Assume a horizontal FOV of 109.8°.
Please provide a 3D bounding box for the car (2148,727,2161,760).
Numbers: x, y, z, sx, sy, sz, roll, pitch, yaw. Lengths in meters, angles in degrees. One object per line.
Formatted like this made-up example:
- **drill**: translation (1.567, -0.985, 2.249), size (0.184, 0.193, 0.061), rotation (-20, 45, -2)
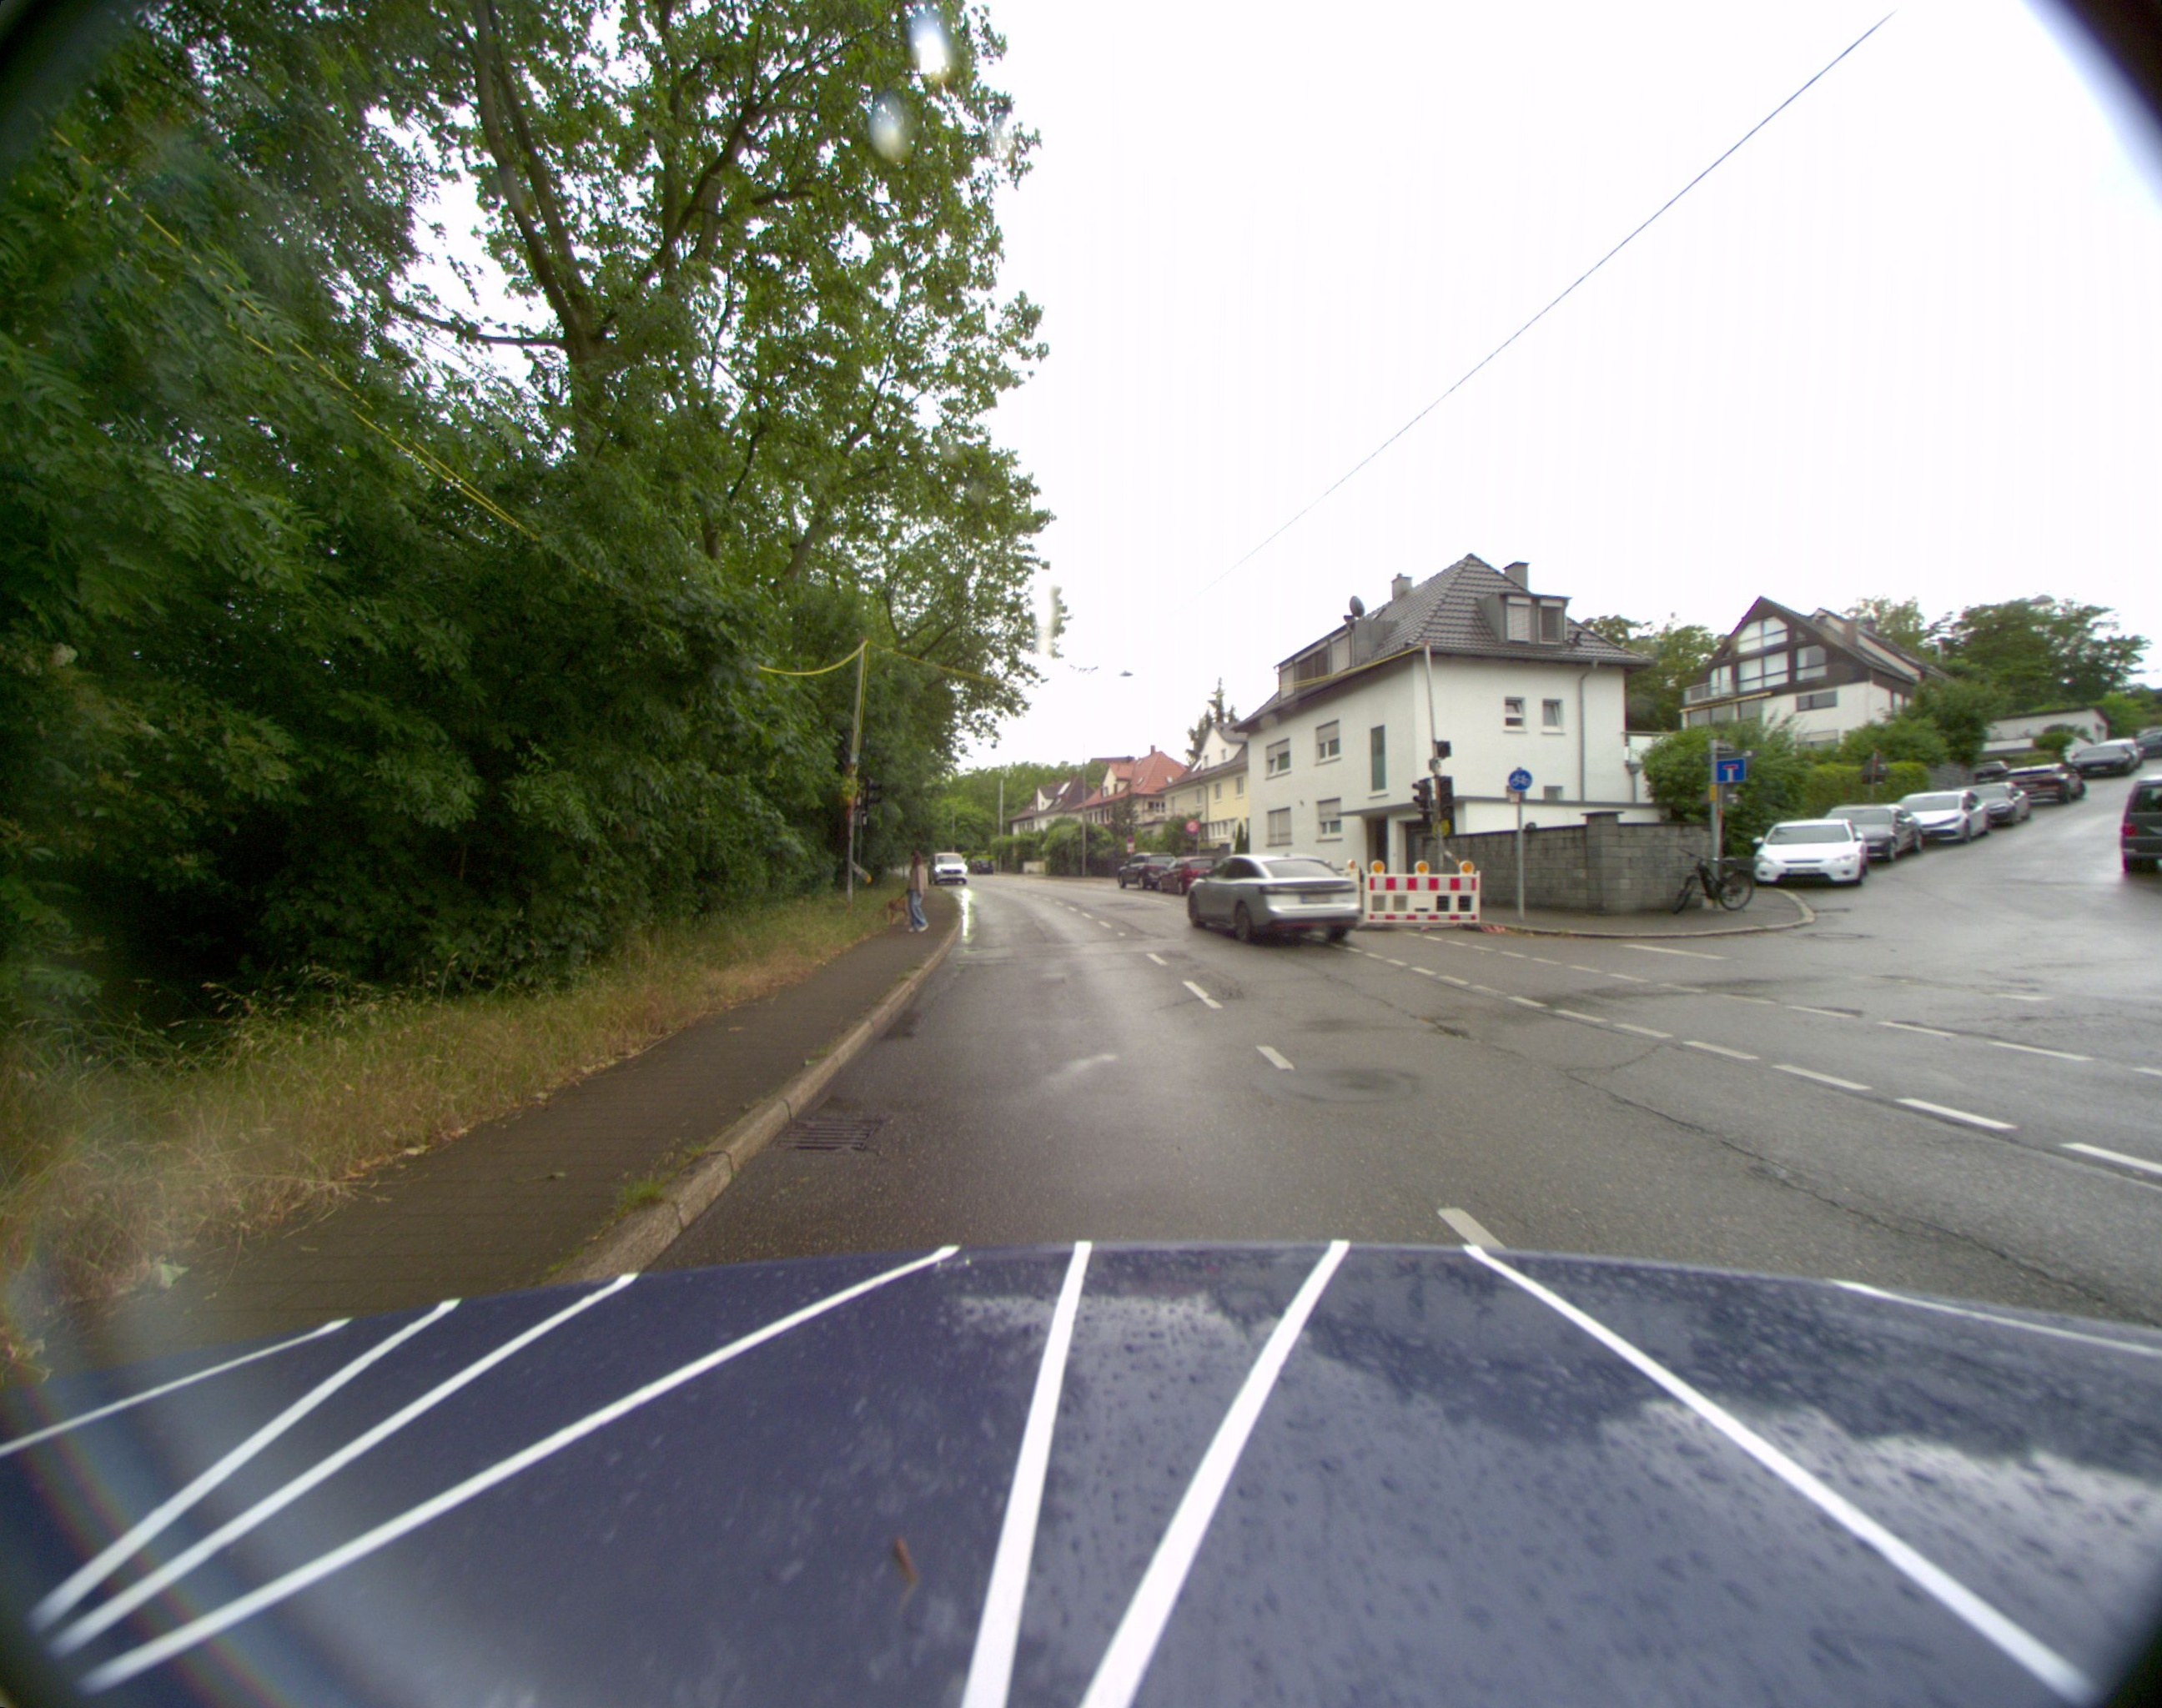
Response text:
- **car**: translation (72.468, -7.459, 48.988), size (2.003, 2.000, 3.993), rotation (-2, -4, -32)

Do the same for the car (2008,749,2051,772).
- **car**: translation (57.242, -5.648, 45.873), size (3.656, 1.205, 1.577), rotation (-7, 3, -38)

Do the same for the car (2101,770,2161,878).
- **car**: translation (23.884, -0.757, 16.271), size (4.497, 2.003, 1.996), rotation (-7, 3, -31)

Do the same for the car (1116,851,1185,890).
- **car**: translation (3.133, 0.731, 35.045), size (1.798, 1.630, 4.150), rotation (-1, 0, -15)

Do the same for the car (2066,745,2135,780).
- **car**: translation (54.818, -4.889, 40.848), size (4.034, 1.511, 1.786), rotation (-2, 0, -31)

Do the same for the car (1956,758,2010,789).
- **car**: translation (52.871, -4.658, 44.525), size (4.020, 1.545, 1.812), rotation (-3, 1, -37)

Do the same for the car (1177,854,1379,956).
- **car**: translation (3.416, 0.787, 14.279), size (1.859, 1.518, 4.815), rotation (-2, 1, -9)

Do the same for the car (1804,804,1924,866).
- **car**: translation (22.466, -0.563, 21.769), size (3.910, 1.380, 1.719), rotation (-7, 3, -34)

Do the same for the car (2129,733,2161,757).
- **car**: translation (68.328, -6.948, 47.704), size (1.286, 1.310, 2.945), rotation (-3, 1, -36)

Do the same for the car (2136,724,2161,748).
- **car**: translation (81.122, -8.880, 55.965), size (1.754, 1.508, 3.961), rotation (-3, 1, -35)

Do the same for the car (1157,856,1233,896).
- **car**: translation (4.385, 0.816, 29.917), size (1.787, 1.423, 3.844), rotation (-2, 0, -10)

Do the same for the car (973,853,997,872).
- **car**: translation (-9.602, 0.846, 75.969), size (1.882, 1.814, 4.121), rotation (-2, 0, -14)

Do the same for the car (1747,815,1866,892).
- **car**: translation (17.778, -0.053, 18.548), size (4.126, 1.455, 1.849), rotation (-7, 4, -43)

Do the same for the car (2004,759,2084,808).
- **car**: translation (40.722, -2.991, 32.121), size (4.004, 1.617, 1.638), rotation (-8, 4, -32)

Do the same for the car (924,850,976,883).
- **car**: translation (-8.435, 0.763, 48.468), size (2.106, 1.908, 5.080), rotation (-2, 0, -23)

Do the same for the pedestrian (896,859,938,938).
- **pedestrian**: translation (-3.218, 0.854, 14.957), size (0.735, 1.490, 0.784), rotation (-2, 1, -11)

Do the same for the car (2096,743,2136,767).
- **car**: translation (59.840, -5.752, 43.905), size (2.988, 1.191, 1.305), rotation (-6, 3, -35)

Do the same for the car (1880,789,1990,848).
- **car**: translation (27.272, -1.158, 24.241), size (3.951, 1.462, 1.755), rotation (-7, 3, -33)

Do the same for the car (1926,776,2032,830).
- **car**: translation (32.329, -1.838, 27.343), size (4.111, 1.430, 1.921), rotation (-9, 4, -33)

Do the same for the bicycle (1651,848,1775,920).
- **bicycle**: translation (11.589, 0.533, 13.946), size (2.006, 1.232, 0.510), rotation (-2, 3, -8)
